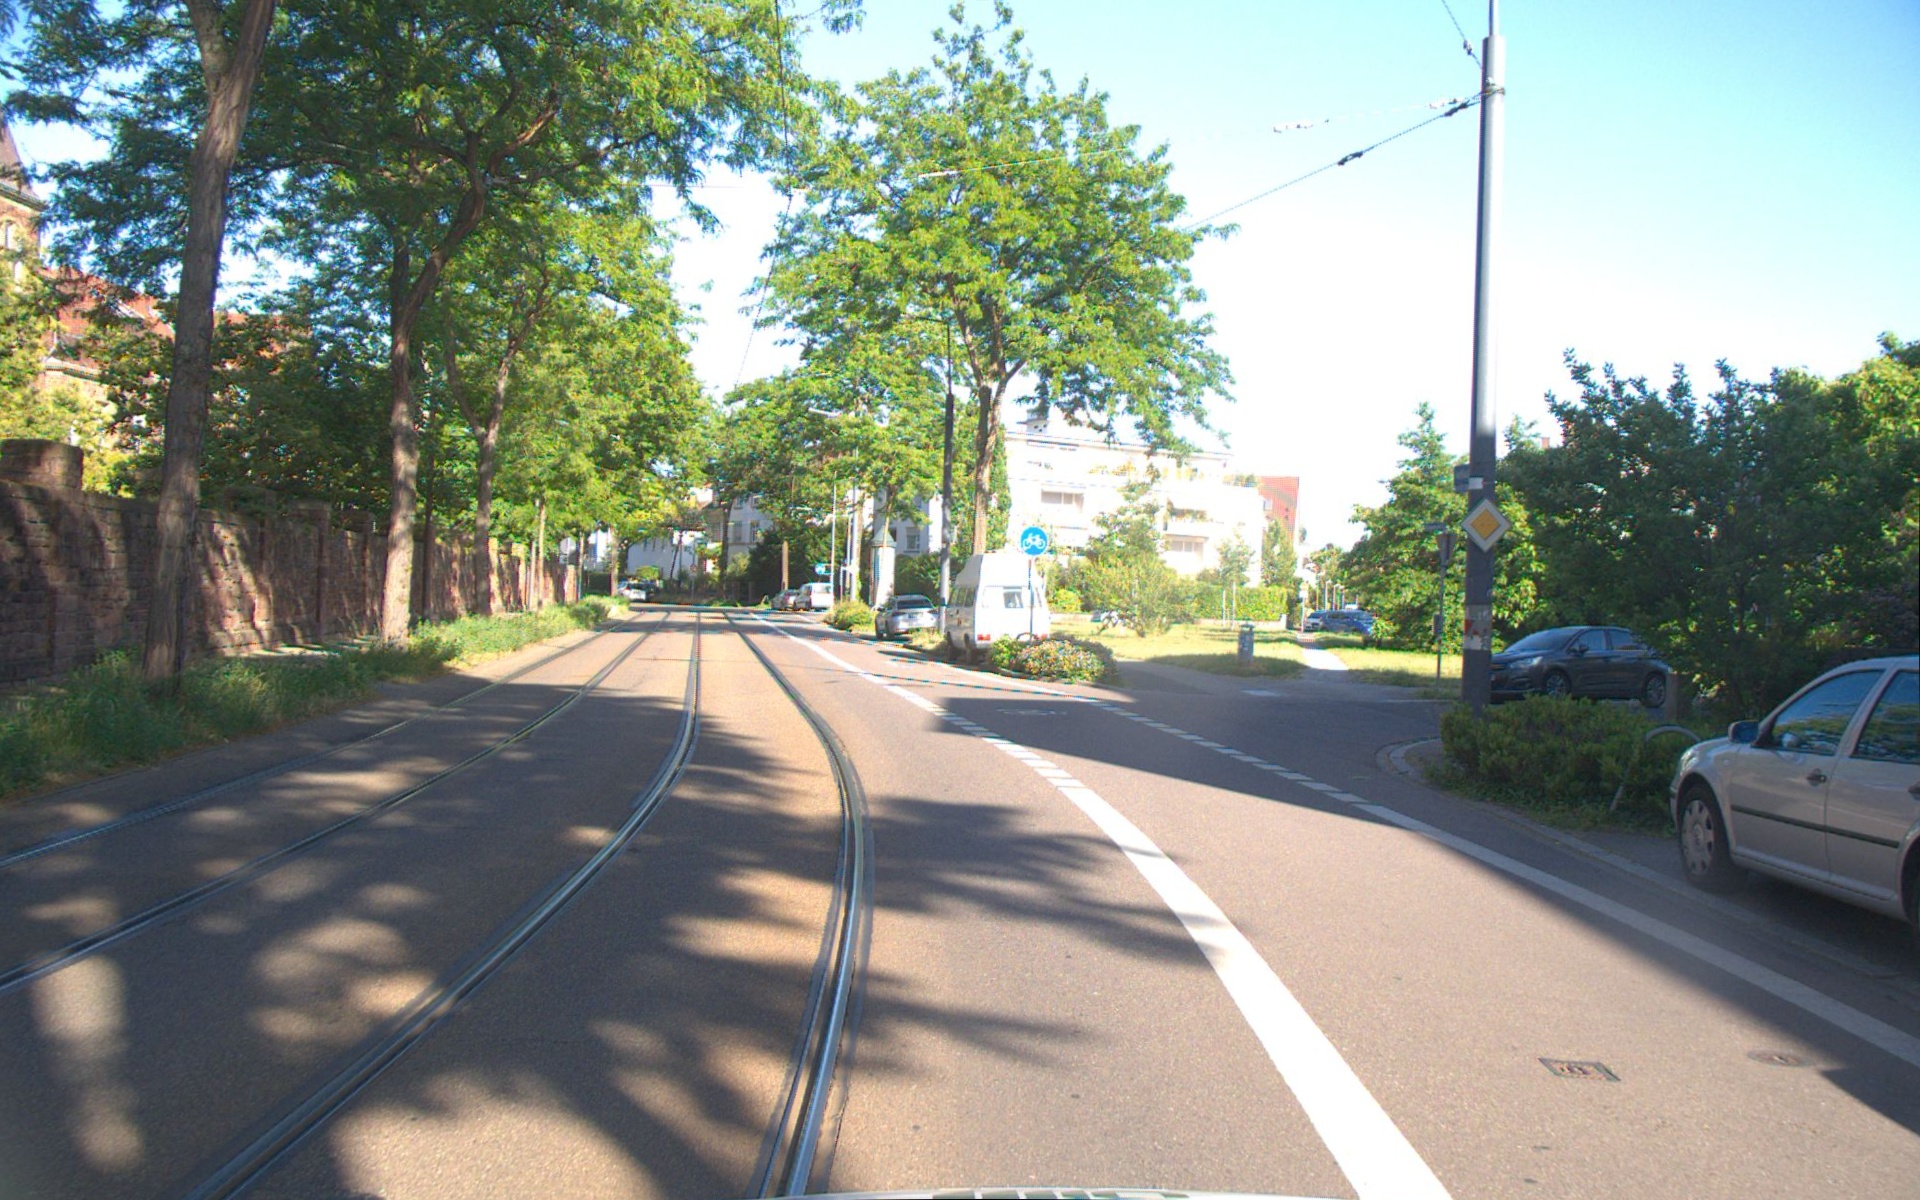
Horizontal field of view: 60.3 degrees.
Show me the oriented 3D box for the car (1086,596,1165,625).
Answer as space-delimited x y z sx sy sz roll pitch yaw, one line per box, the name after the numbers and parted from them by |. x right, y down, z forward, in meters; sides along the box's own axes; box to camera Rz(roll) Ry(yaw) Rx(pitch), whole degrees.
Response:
9.626 0.608 96.324 4.219 1.537 1.828 2 -2 -21 | car

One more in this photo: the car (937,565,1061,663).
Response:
0.833 0.287 38.933 1.958 2.132 4.704 1 0 -11 | car

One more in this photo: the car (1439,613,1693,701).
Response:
11.242 1.079 30.657 4.396 1.516 1.991 1 -3 -28 | car

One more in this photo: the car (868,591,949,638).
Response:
-1.837 0.464 57.027 1.964 1.491 5.419 -2 1 -10 | car

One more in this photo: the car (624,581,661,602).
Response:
-27.267 -0.764 142.088 1.784 1.723 4.685 -2 2 -28 | car

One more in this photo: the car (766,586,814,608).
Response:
-11.595 -0.211 112.324 1.968 1.448 4.298 1 0 -25 | car

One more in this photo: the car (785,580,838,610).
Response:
-9.600 -0.347 106.693 1.996 1.777 4.716 1 1 -24 | car

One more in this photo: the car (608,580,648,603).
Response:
-26.188 -0.651 130.514 1.872 1.639 4.186 2 -2 -30 | car

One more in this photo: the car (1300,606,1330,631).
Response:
25.699 1.325 119.676 2.002 1.738 4.291 2 0 14 | car

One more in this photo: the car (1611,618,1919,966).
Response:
5.189 0.911 8.722 1.702 1.521 4.530 2 0 0 | car
